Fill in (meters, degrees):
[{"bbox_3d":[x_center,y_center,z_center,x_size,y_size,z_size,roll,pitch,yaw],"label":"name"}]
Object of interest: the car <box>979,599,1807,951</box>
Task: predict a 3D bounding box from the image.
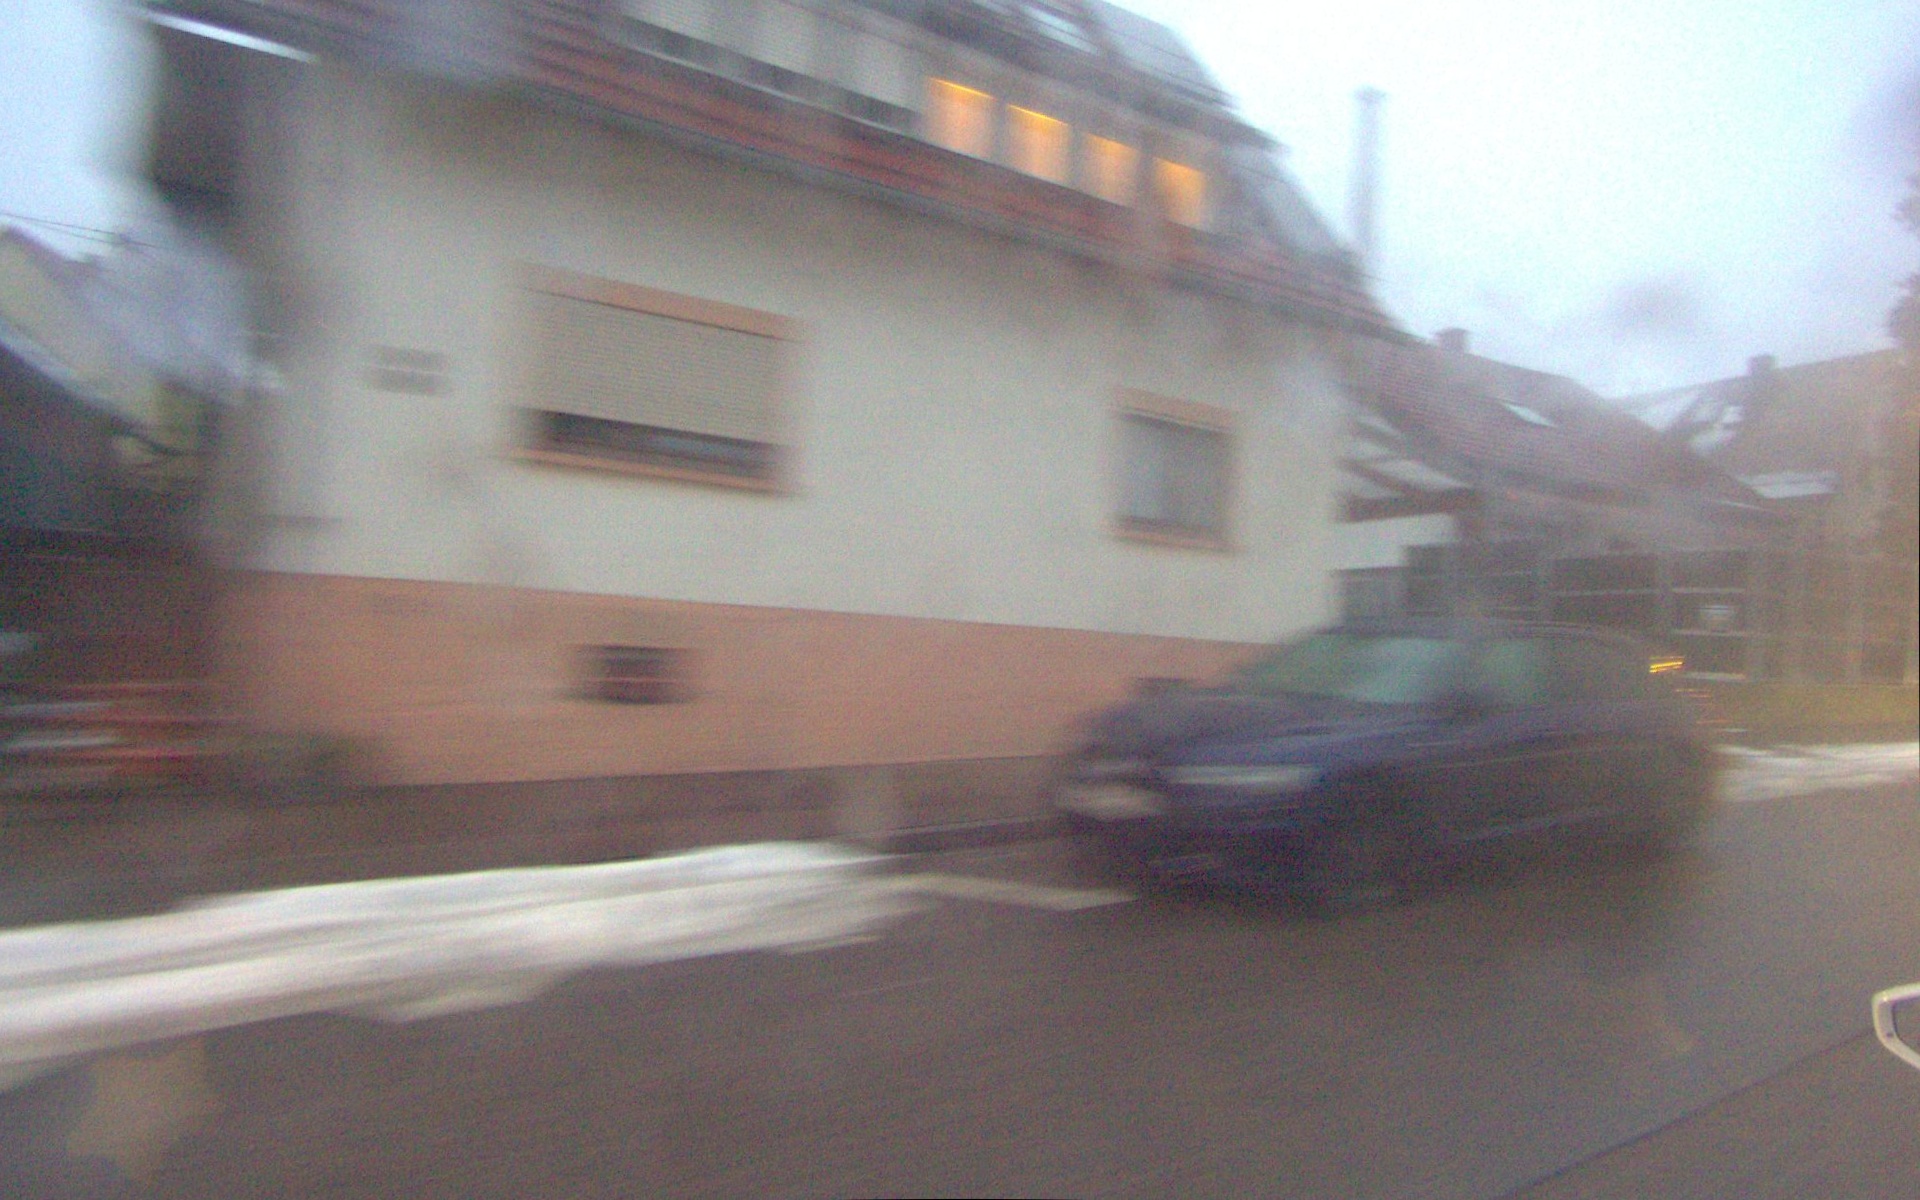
[{"bbox_3d":[2.900,0.798,6.320,5.325,1.445,1.869,1,1,-28],"label":"car"}]
